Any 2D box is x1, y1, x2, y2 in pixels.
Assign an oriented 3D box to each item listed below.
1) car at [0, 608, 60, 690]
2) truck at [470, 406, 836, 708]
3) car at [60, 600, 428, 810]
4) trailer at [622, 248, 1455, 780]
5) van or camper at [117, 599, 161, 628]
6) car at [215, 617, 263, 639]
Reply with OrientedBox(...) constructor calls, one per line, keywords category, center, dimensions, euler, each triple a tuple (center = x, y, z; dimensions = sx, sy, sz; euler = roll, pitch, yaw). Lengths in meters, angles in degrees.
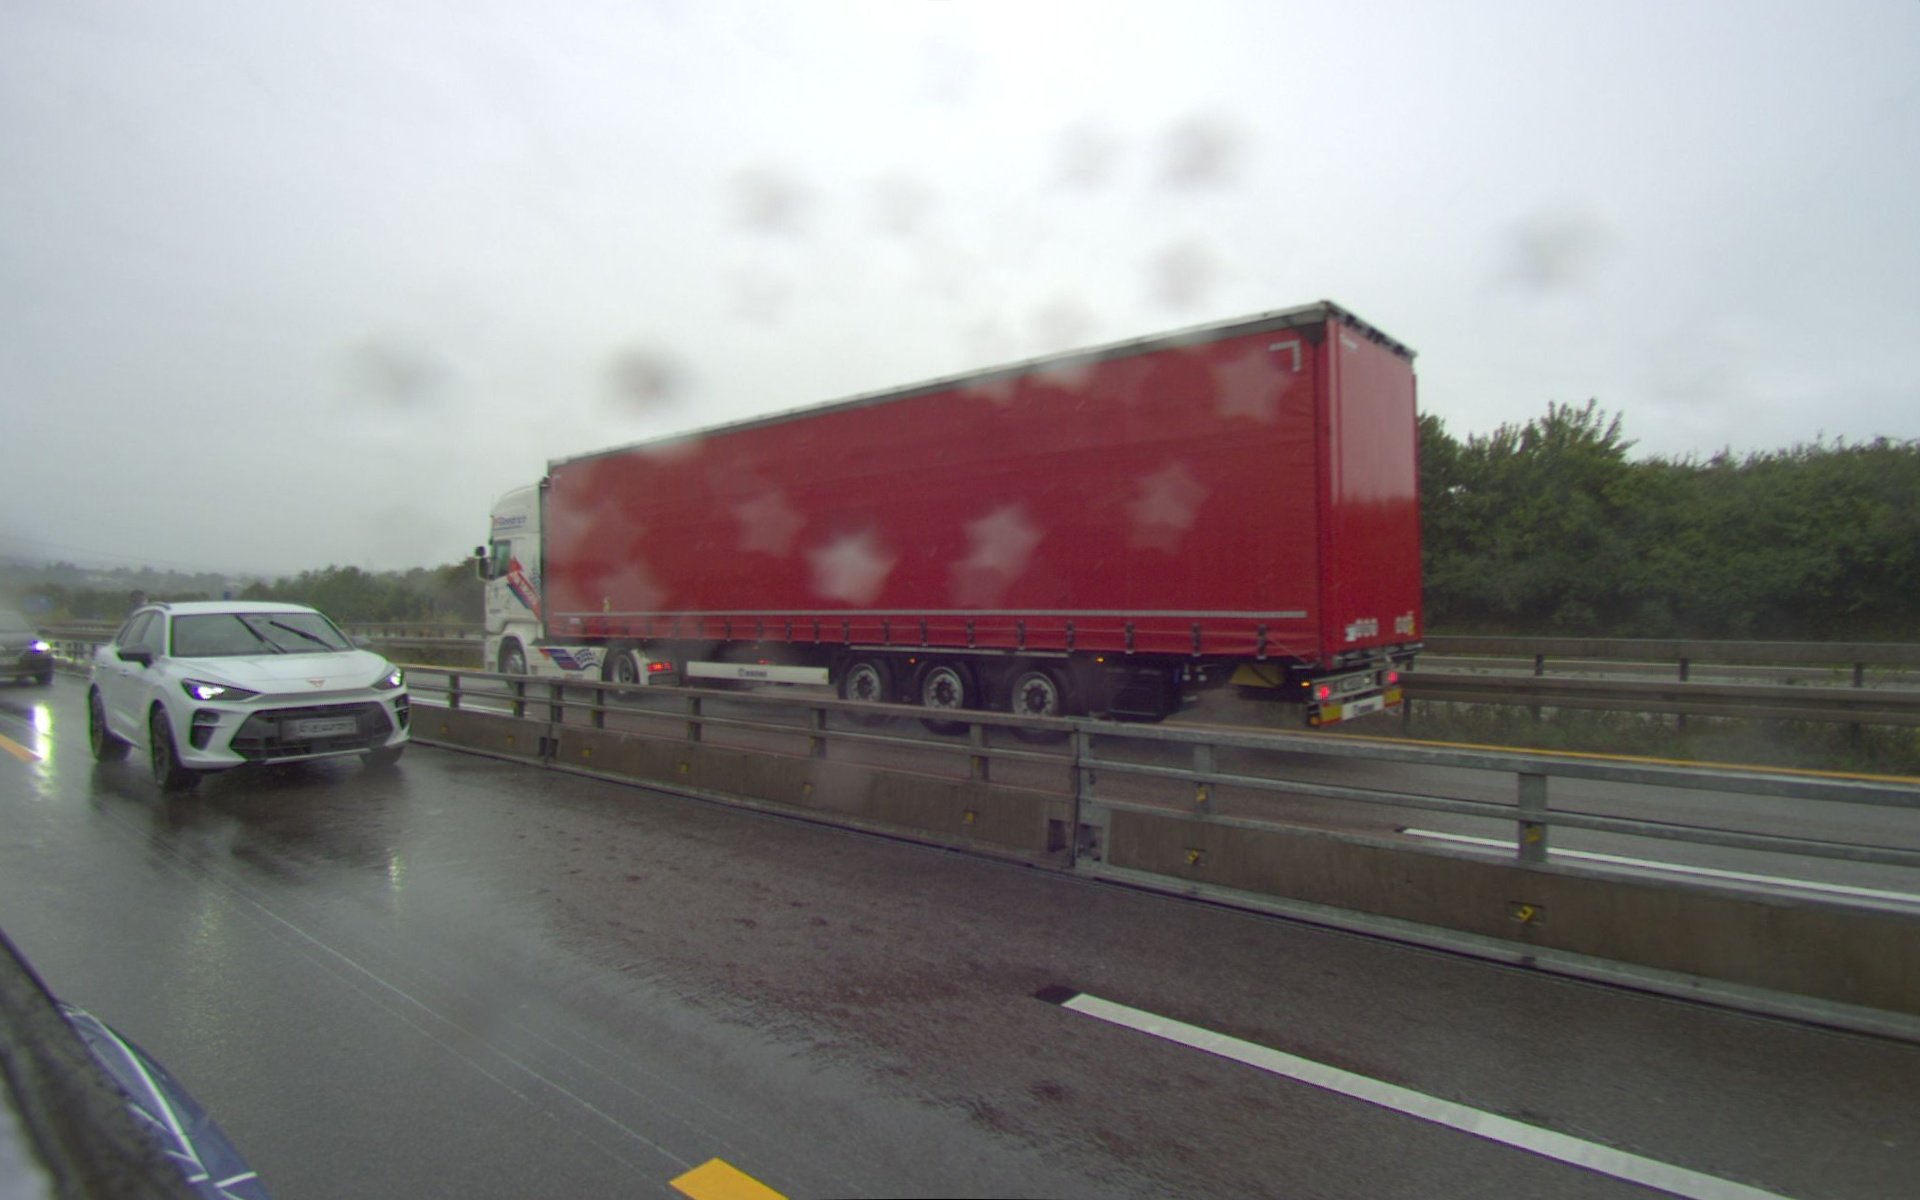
OrientedBox(category="car", center=(-21.331, 1.022, 22.043), dimensions=(5.194, 1.640, 2.042), euler=(-1, -1, 42))
OrientedBox(category="truck", center=(-5.584, -0.559, 17.783), dimensions=(6.797, 4.304, 2.976), euler=(-1, -2, 41))
OrientedBox(category="car", center=(-7.232, 0.813, 9.980), dimensions=(5.005, 1.562, 1.907), euler=(-1, 0, 42))
OrientedBox(category="trailer", center=(-0.018, -0.628, 12.967), dimensions=(11.053, 4.327, 2.945), euler=(-1, -2, 41))
OrientedBox(category="van or camper", center=(-129.817, 2.098, 159.954), dimensions=(8.489, 4.356, 3.337), euler=(-1, 0, 36))
OrientedBox(category="car", center=(-65.672, 2.535, 92.136), dimensions=(5.356, 1.981, 2.074), euler=(-1, -1, 37))
